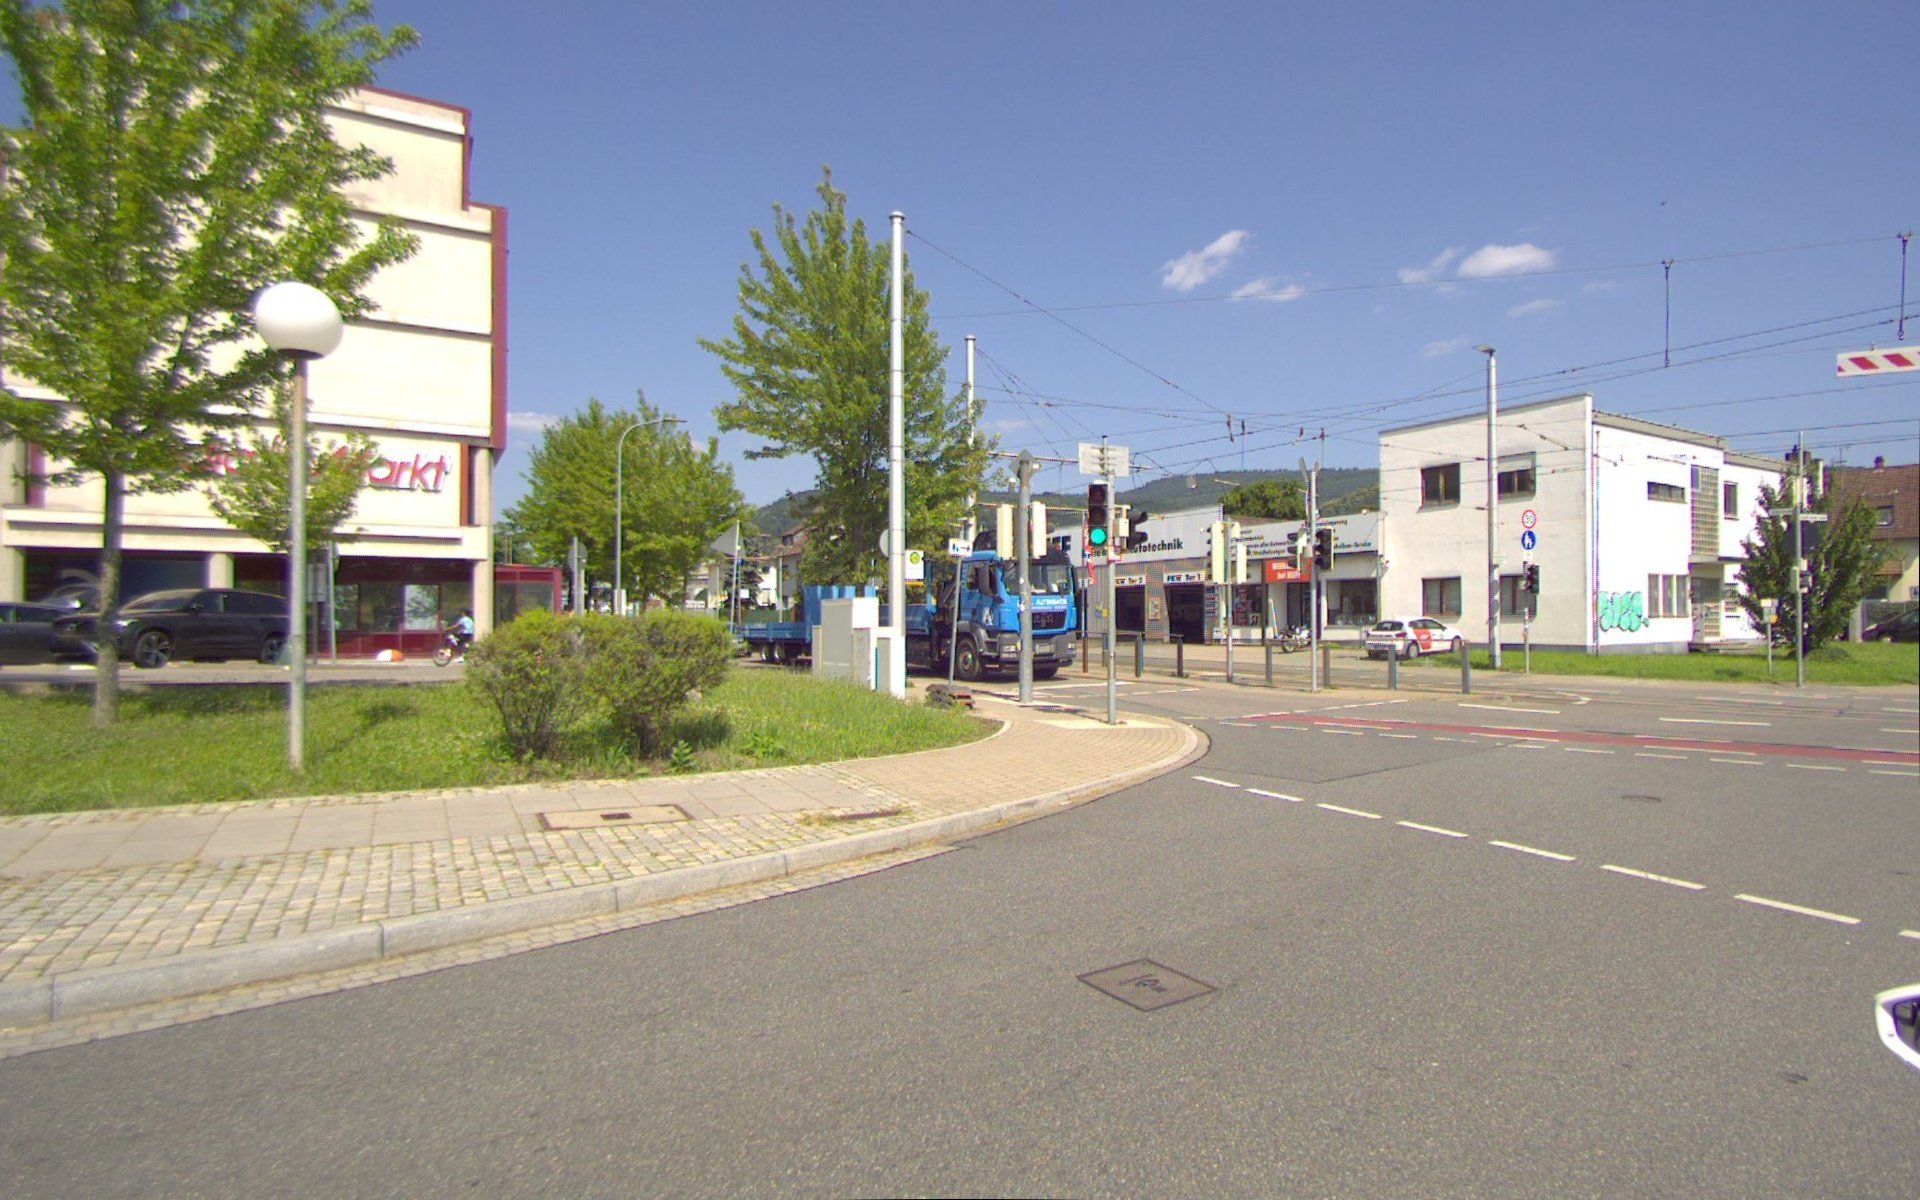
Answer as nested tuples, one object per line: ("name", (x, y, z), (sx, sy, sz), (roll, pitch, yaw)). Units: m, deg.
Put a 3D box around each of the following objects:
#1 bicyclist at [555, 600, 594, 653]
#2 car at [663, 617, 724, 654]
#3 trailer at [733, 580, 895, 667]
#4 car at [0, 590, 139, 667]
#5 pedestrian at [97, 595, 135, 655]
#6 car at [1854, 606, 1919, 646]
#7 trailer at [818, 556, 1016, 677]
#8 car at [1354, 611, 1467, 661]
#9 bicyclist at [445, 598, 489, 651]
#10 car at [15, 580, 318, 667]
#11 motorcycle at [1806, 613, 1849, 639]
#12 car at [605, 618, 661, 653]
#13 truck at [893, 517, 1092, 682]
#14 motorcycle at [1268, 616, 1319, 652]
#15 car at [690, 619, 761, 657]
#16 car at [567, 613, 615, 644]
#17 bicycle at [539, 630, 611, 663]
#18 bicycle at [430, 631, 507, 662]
("bicyclist", (-11.105, 0.757, 28.976), (0.906, 1.467, 0.721), (2, 0, -13))
("car", (-12.801, 1.659, 48.141), (1.708, 1.605, 4.037), (-2, 1, -31))
("trailer", (-5.236, 0.773, 34.708), (2.775, 2.663, 7.535), (0, -1, -32))
("car", (-19.884, 0.576, 20.352), (1.879, 1.512, 4.873), (0, -2, 12))
("pedestrian", (-19.445, 0.573, 23.158), (0.513, 1.374, 0.461), (1, -1, -19))
("car", (44.616, 1.190, 46.026), (1.983, 1.840, 5.207), (1, -2, -38))
("trailer", (-1.429, 0.441, 28.579), (2.721, 3.017, 6.840), (0, -1, -31))
("car", (16.350, 1.266, 36.431), (3.956, 1.482, 1.873), (-4, 1, -33))
("bicyclist", (-14.075, 0.708, 28.717), (0.906, 1.467, 0.721), (2, 0, -9))
("car", (-16.876, 0.601, 21.830), (2.143, 1.615, 5.120), (-2, -3, 7))
("motorcycle", (38.469, 1.157, 44.540), (2.542, 1.046, 0.846), (2, 0, -35))
("car", (-15.079, 1.598, 46.151), (1.708, 1.482, 3.874), (2, -1, -29))
("truck", (0.661, 0.014, 25.080), (2.721, 3.656, 4.997), (0, 0, -31))
("motorcycle", (13.784, 1.395, 41.478), (2.166, 1.326, 0.725), (-3, 1, -32))
("car", (-10.095, 1.576, 43.051), (1.708, 1.492, 4.243), (-1, 0, -31))
("car", (-19.098, 1.457, 51.885), (1.745, 1.539, 3.969), (1, -1, -29))
("bicycle", (-11.082, 1.342, 28.984), (1.811, 0.860, 0.727), (2, 0, -13))
("bicycle", (-14.039, 1.316, 28.729), (1.810, 0.804, 0.727), (2, 0, -9))
